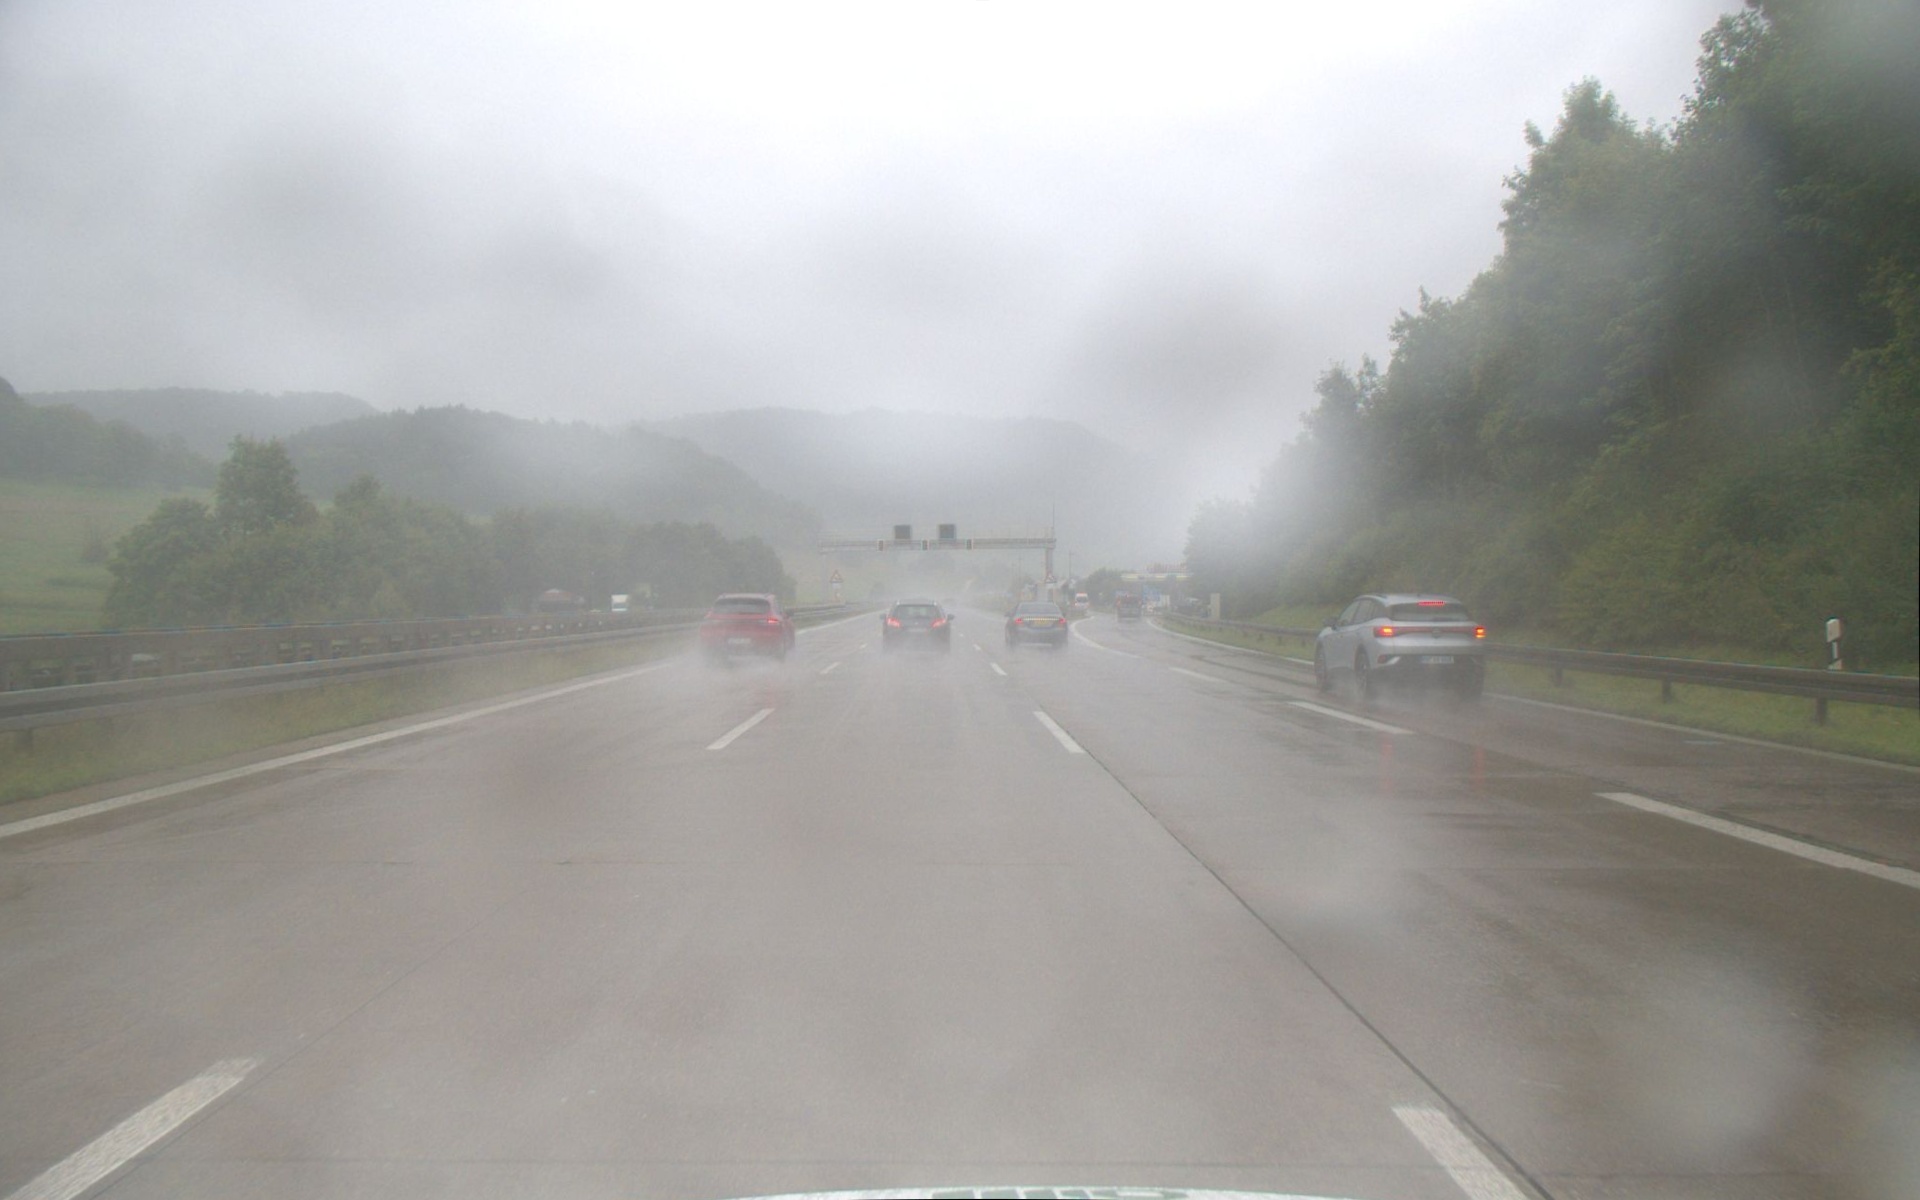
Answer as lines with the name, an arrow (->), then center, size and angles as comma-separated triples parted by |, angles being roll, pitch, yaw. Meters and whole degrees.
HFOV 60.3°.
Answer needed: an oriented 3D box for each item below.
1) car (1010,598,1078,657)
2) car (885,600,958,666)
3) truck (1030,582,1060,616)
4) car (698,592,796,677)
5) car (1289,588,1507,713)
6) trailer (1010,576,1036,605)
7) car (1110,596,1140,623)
car -> 2.676, 0.853, 53.356 | 1.931, 1.791, 3.999 | 0, 0, -1
car -> -0.995, 0.841, 43.555 | 1.822, 1.617, 3.999 | 1, 0, -1
truck -> 11.669, -0.128, 228.769 | 3.332, 4.479, 11.047 | 1, 0, -1
car -> -4.881, 0.749, 38.350 | 1.846, 1.847, 3.999 | 0, 0, -2
car -> 6.914, 0.746, 26.812 | 1.953, 1.781, 5.661 | 1, 0, -1
trailer -> 9.809, -1.454, 259.104 | 3.444, 4.336, 11.919 | 1, 0, 0
car -> 12.966, 0.718, 130.072 | 1.951, 2.049, 5.059 | 0, 0, 10
